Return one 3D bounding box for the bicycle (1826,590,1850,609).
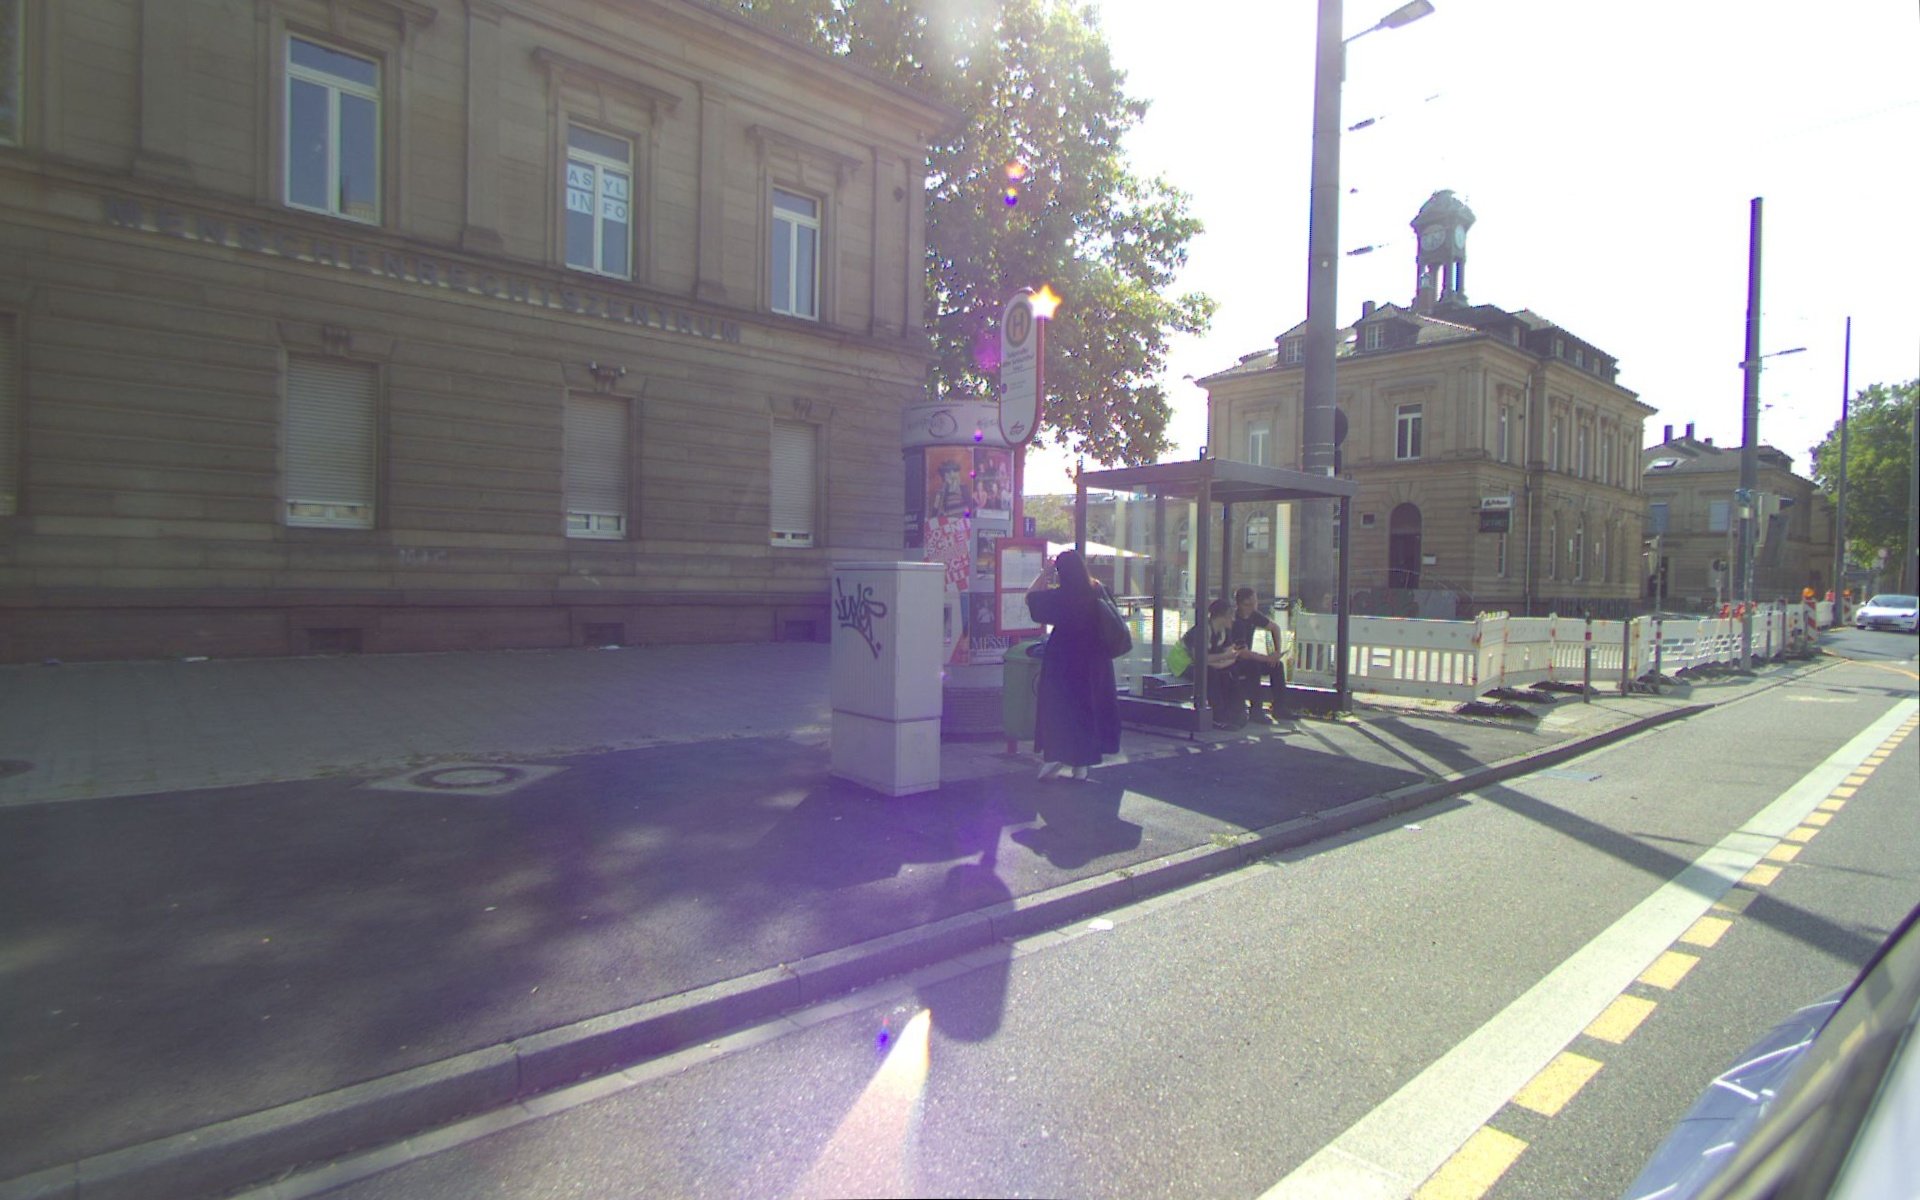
[{"bbox_3d":[49.978,-0.008,57.597,2.095,1.045,0.743,0,2,-41],"label":"bicycle"}]

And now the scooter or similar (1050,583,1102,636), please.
[{"bbox_3d":[2.669,0.202,23.172,1.203,1.180,0.410,0,2,-37],"label":"scooter or similar"}]

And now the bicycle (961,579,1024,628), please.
[{"bbox_3d":[0.836,0.083,25.439,1.599,1.180,0.499,0,2,-37],"label":"bicycle"}]

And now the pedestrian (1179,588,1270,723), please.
[{"bbox_3d":[2.594,0.520,9.930,0.565,1.233,0.609,0,3,-44],"label":"pedestrian"}]

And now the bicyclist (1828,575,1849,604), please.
[{"bbox_3d":[49.970,-0.611,57.573,0.838,1.645,0.736,0,2,-41],"label":"bicyclist"}]

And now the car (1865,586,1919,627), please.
[{"bbox_3d":[37.340,0.235,39.984,3.930,1.478,1.843,0,2,-41],"label":"car"}]

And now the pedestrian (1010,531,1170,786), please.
[{"bbox_3d":[0.927,0.362,7.096,0.875,1.646,0.816,2,1,25],"label":"pedestrian"}]

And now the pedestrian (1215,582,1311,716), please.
[{"bbox_3d":[3.133,0.482,10.451,0.746,1.292,0.609,0,3,-44],"label":"pedestrian"}]
